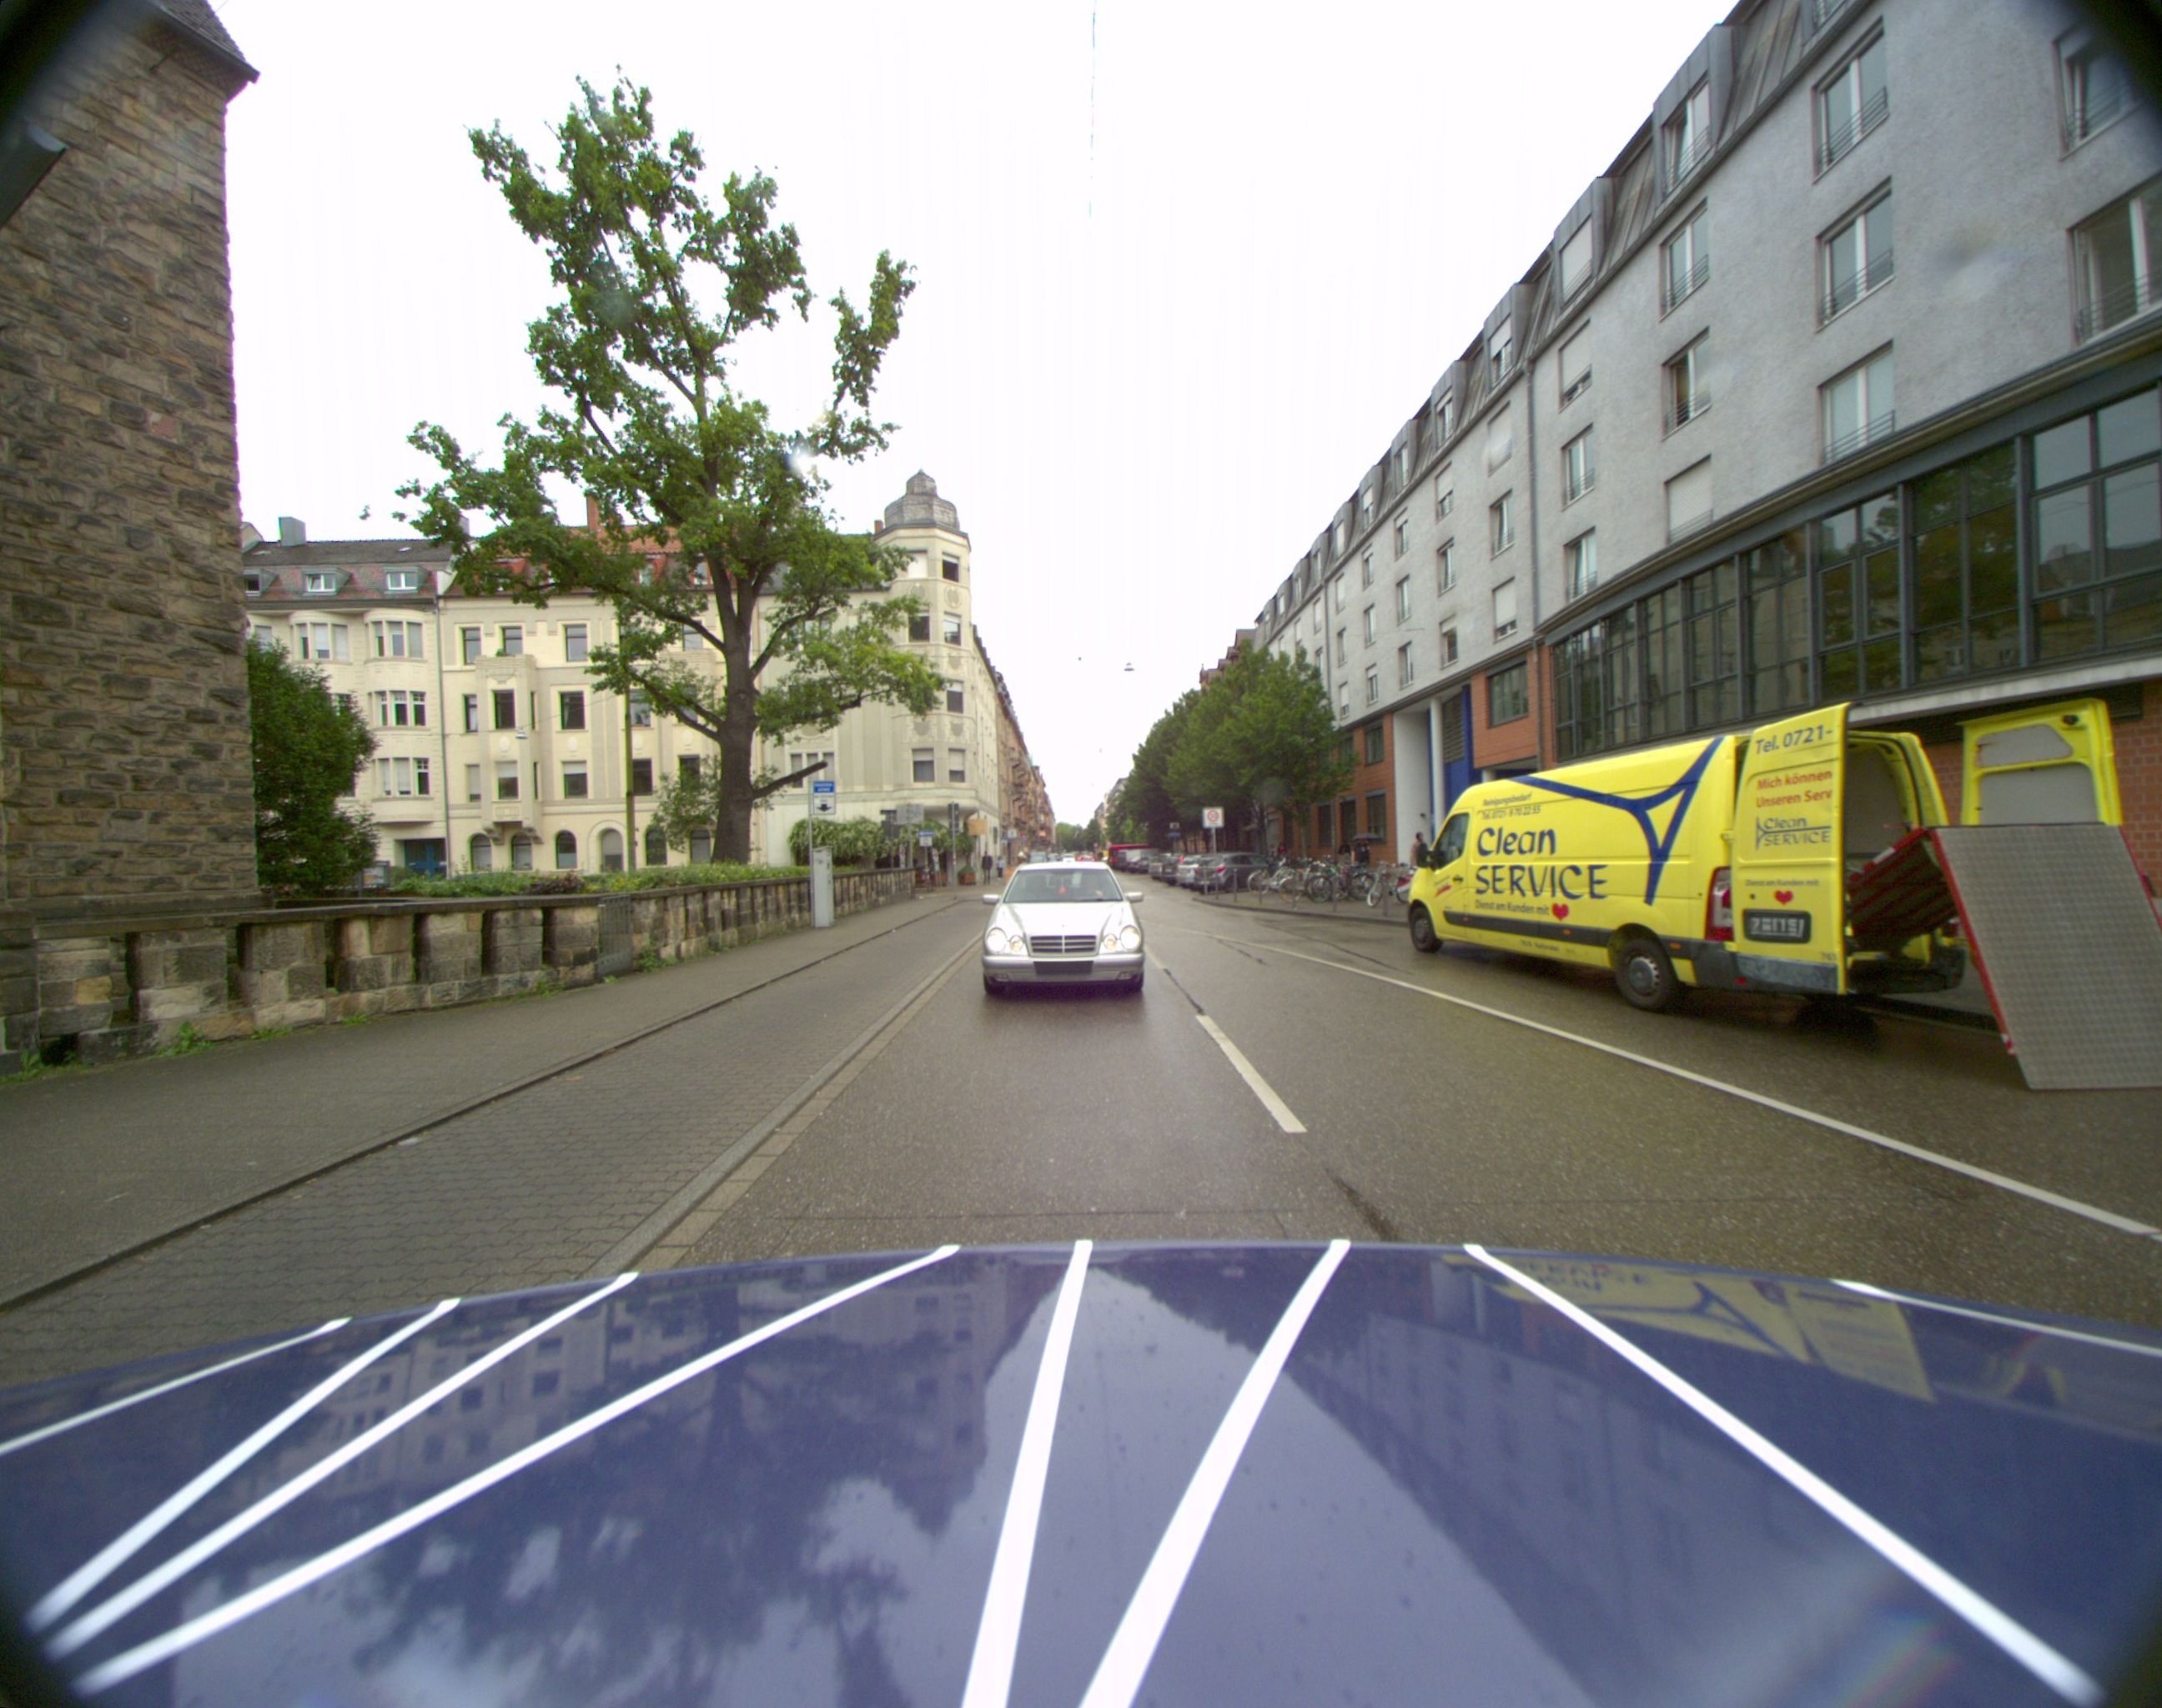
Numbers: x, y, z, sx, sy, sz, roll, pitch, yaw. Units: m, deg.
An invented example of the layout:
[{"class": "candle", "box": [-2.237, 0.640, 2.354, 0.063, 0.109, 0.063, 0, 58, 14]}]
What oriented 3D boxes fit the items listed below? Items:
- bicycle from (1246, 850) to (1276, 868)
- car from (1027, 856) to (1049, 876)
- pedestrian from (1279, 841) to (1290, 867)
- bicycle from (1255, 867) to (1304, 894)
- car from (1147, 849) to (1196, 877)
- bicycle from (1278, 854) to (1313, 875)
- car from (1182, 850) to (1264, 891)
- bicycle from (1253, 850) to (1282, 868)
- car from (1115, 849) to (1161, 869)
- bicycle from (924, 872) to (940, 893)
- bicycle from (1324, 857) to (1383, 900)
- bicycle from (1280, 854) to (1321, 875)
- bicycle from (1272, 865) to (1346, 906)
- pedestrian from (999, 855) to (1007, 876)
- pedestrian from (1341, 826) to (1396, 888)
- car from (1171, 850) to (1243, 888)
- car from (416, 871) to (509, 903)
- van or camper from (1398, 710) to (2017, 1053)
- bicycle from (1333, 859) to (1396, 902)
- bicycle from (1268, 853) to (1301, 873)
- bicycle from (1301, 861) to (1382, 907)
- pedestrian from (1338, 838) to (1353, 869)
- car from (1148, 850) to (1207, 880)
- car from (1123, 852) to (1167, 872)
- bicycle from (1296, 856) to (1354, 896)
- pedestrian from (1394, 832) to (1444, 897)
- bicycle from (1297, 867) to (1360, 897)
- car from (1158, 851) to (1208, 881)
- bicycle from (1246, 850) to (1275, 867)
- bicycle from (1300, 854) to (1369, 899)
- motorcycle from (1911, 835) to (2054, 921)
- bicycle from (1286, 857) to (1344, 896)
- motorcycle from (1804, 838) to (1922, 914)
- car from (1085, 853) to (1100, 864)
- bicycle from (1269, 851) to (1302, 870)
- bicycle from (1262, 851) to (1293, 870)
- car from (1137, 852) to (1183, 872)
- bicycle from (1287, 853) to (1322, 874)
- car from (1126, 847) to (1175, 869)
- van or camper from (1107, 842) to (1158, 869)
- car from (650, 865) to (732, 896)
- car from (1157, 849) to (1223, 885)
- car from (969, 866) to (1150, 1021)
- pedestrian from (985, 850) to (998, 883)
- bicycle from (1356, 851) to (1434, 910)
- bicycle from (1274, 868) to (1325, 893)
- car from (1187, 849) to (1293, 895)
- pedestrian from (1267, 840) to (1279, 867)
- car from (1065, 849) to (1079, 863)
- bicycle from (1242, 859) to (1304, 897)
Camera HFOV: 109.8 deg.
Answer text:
[{"class": "bicycle", "box": [10.278, 0.300, 43.373, 1.590, 0.978, 0.465, -2, 1, -8]}, {"class": "car", "box": [-3.124, 0.852, 55.905, 1.447, 1.348, 3.204, -1, 0, 0]}, {"class": "pedestrian", "box": [12.471, -0.015, 46.548, 0.514, 1.601, 0.425, -2, 1, 1]}, {"class": "bicycle", "box": [6.607, 0.870, 25.307, 1.473, 0.800, 0.497, -3, 1, 3]}, {"class": "car", "box": [5.405, 0.538, 45.273, 2.685, 1.546, 1.148, -3, 0, -29]}, {"class": "bicycle", "box": [10.537, 0.495, 37.398, 1.590, 0.978, 0.445, -2, 1, -8]}, {"class": "car", "box": [5.844, 0.645, 31.282, 3.083, 1.494, 1.449, -3, 0, -31]}, {"class": "bicycle", "box": [10.864, 0.274, 44.267, 1.590, 0.978, 0.465, -2, 1, -8]}, {"class": "car", "box": [5.303, 0.450, 69.970, 4.338, 1.822, 1.571, -1, 0, -41]}, {"class": "bicycle", "box": [-7.251, 1.377, 36.989, 0.390, 0.888, 2.023, -1, 2, 0]}, {"class": "bicycle", "box": [7.506, 0.679, 20.983, 1.461, 1.096, 0.462, -3, 1, 14]}, {"class": "bicycle", "box": [10.664, 0.499, 36.924, 1.851, 0.978, 0.445, -2, 1, -8]}, {"class": "bicycle", "box": [6.165, 0.837, 20.546, 1.800, 0.987, 0.520, -3, 1, -2]}, {"class": "pedestrian", "box": [-5.311, 0.780, 51.916, 0.482, 1.452, 0.392, -1, 1, 0]}, {"class": "pedestrian", "box": [9.321, 0.099, 24.688, 1.228, 1.870, 1.055, -6, 1, 0]}, {"class": "car", "box": [5.657, 0.646, 33.891, 3.084, 1.494, 1.449, -3, 0, -40]}, {"class": "car", "box": [-29.611, 1.583, 36.433, 3.270, 1.401, 1.448, -1, 0, 3]}, {"class": "van or camper", "box": [6.060, 0.205, 8.796, 2.201, 2.596, 5.941, -1, 0, -1]}, {"class": "bicycle", "box": [7.533, 0.702, 20.210, 1.462, 1.058, 0.418, -3, 1, 4]}, {"class": "bicycle", "box": [10.532, 0.465, 39.313, 1.590, 0.978, 0.445, -2, 1, -8]}, {"class": "bicycle", "box": [6.745, 0.780, 19.738, 1.858, 1.067, 0.609, -3, 1, 5]}, {"class": "pedestrian", "box": [13.060, -0.008, 37.539, 0.516, 1.521, 0.548, -1, 1, -3]}, {"class": "car", "box": [5.388, 0.601, 42.493, 2.985, 1.546, 1.369, -3, 0, -29]}, {"class": "car", "box": [5.293, 0.649, 62.226, 1.685, 1.482, 3.799, -1, 0, 40]}, {"class": "bicycle", "box": [7.413, 0.660, 23.091, 1.611, 1.099, 0.519, -3, 1, -13]}, {"class": "pedestrian", "box": [9.293, 0.283, 20.930, 0.827, 1.697, 0.859, -6, 1, 1]}, {"class": "bicycle", "box": [7.314, 0.827, 22.435, 1.773, 0.757, 0.456, -3, 1, -13]}, {"class": "car", "box": [5.378, 0.614, 40.008, 2.506, 1.442, 1.191, -3, 0, -40]}, {"class": "bicycle", "box": [10.717, 0.258, 45.402, 1.590, 0.978, 0.465, -2, 1, -8]}, {"class": "bicycle", "box": [7.291, 0.634, 21.843, 1.815, 1.187, 0.519, -3, 1, -13]}, {"class": "motorcycle", "box": [13.294, 0.318, 11.274, 0.524, 1.174, 1.760, -3, 0, 19]}, {"class": "bicycle", "box": [7.299, 0.687, 23.741, 1.610, 1.099, 0.520, -3, 1, -4]}, {"class": "motorcycle", "box": [13.089, 0.328, 12.800, 0.524, 1.174, 2.006, -3, 0, 19]}, {"class": "car", "box": [1.410, 0.600, 96.578, 1.651, 1.301, 3.311, -1, 0, -2]}, {"class": "bicycle", "box": [10.742, 0.339, 39.932, 1.590, 0.978, 0.445, -2, 1, -8]}, {"class": "bicycle", "box": [10.627, 0.325, 41.097, 1.590, 0.978, 0.465, -2, 1, -8]}, {"class": "car", "box": [6.227, 0.610, 59.709, 1.685, 1.482, 3.799, -1, 0, 40]}, {"class": "bicycle", "box": [11.161, 0.476, 37.941, 1.590, 0.978, 0.445, -2, 1, -8]}, {"class": "car", "box": [6.087, 0.337, 66.457, 4.338, 1.884, 1.685, -1, 0, -41]}, {"class": "van or camper", "box": [5.151, 0.120, 75.915, 4.604, 2.597, 1.999, -1, 1, -27]}, {"class": "car", "box": [-19.057, 1.293, 37.189, 3.270, 1.401, 1.448, -1, 0, 3]}, {"class": "car", "box": [5.301, 0.611, 36.776, 3.084, 1.543, 1.449, -3, 0, -40]}, {"class": "car", "box": [-0.212, 0.919, 9.579, 1.764, 1.420, 4.000, -2, 0, 0]}, {"class": "pedestrian", "box": [-5.088, 0.684, 43.081, 0.646, 1.862, 0.693, -1, 1, 0]}, {"class": "bicycle", "box": [7.604, 0.620, 18.347, 1.922, 1.209, 0.768, -6, 3, -35]}, {"class": "bicycle", "box": [7.081, 0.864, 24.679, 1.473, 0.717, 0.497, -3, 1, 3]}, {"class": "car", "box": [5.963, 0.636, 28.355, 3.629, 1.494, 1.736, -3, 1, -31]}, {"class": "pedestrian", "box": [11.844, -0.026, 46.850, 0.605, 1.601, 0.372, -2, 1, -1]}, {"class": "car", "box": [-1.313, 0.253, 114.332, 1.998, 2.002, 4.000, -1, 0, 1]}, {"class": "bicycle", "box": [6.117, 0.757, 24.201, 1.812, 1.099, 0.472, -3, 1, -4]}]
